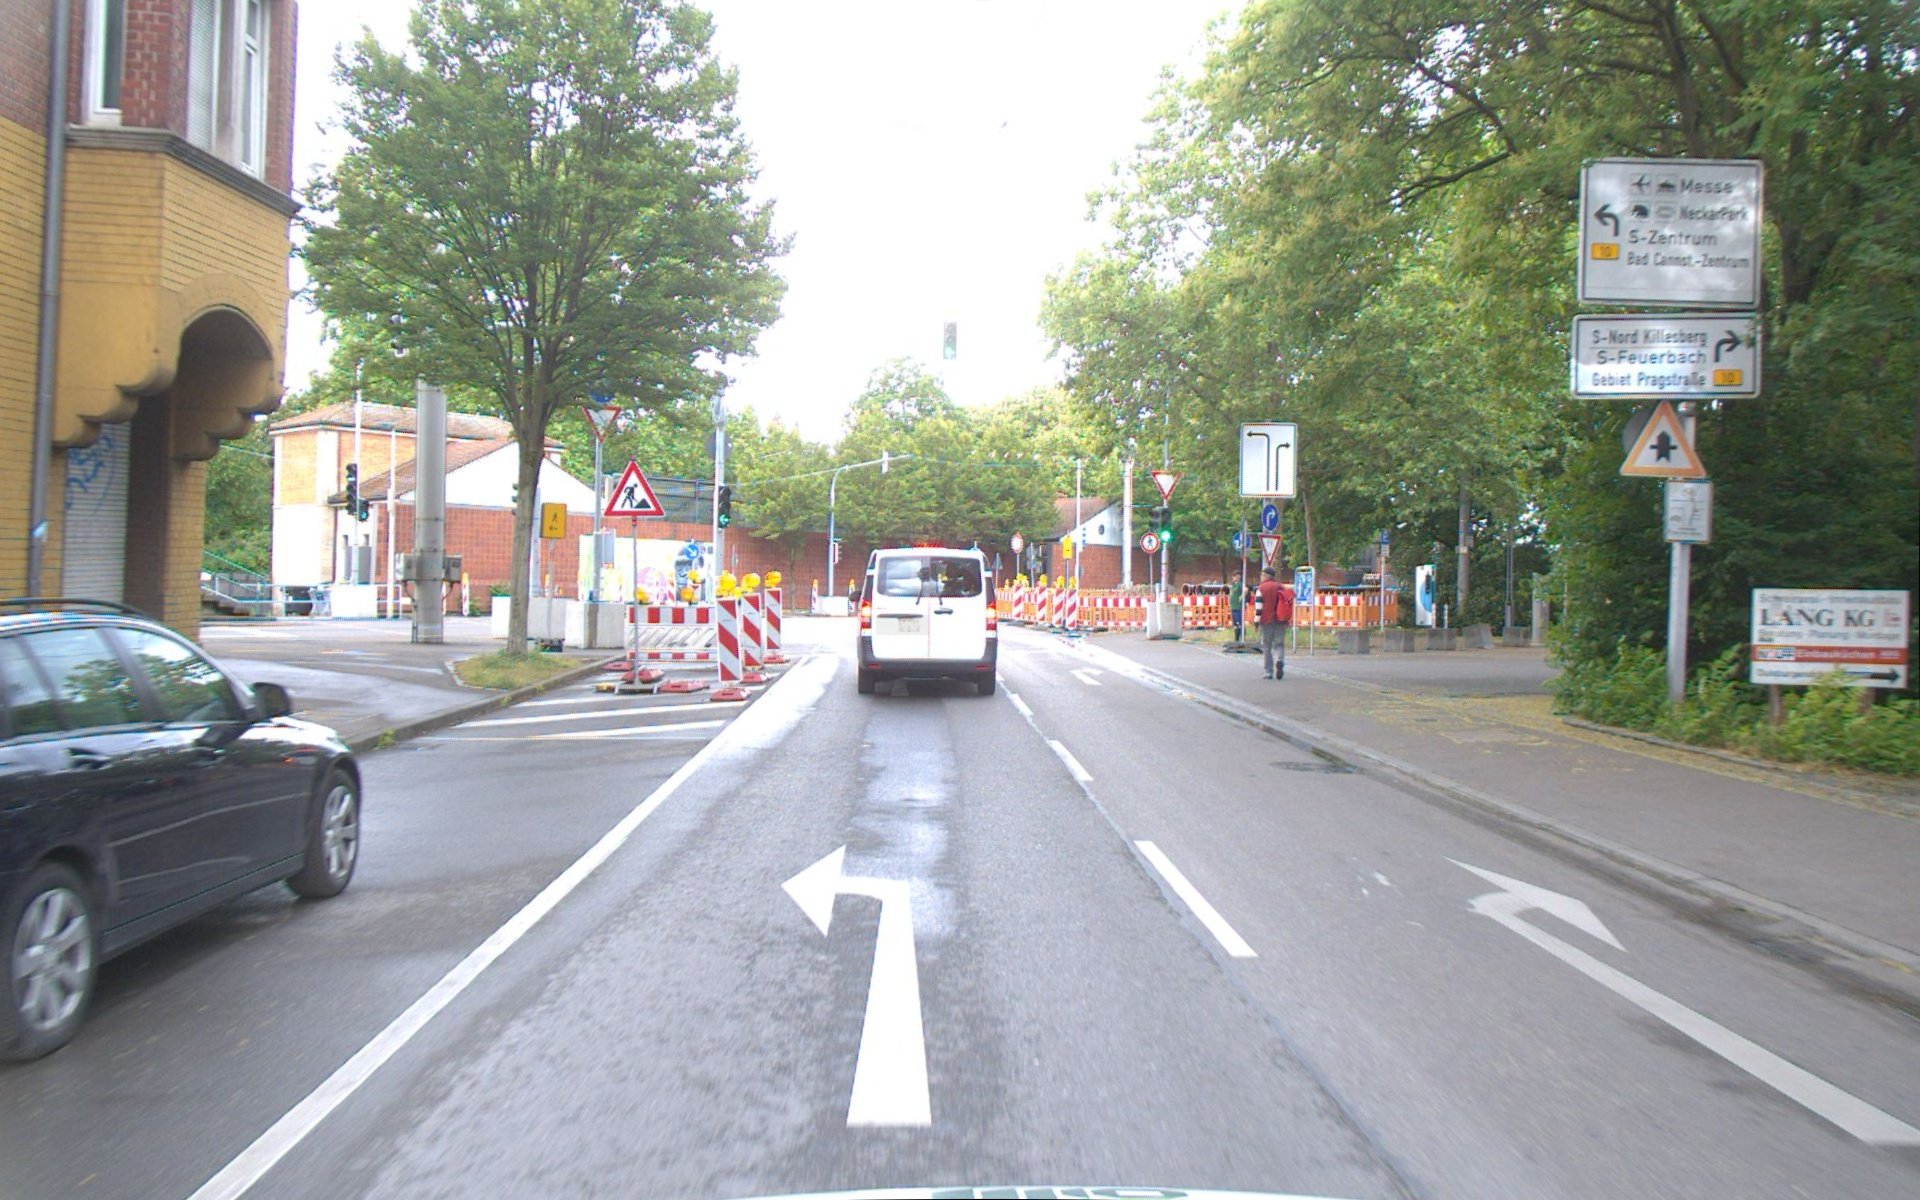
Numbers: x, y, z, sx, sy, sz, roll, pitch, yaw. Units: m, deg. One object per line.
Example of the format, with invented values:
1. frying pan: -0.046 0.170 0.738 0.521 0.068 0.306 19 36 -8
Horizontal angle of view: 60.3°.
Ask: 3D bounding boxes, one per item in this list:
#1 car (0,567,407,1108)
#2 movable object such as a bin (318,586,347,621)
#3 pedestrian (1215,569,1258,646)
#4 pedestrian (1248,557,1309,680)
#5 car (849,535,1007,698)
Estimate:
1. car: -3.730 0.694 6.430 1.690 1.511 4.390 2 2 -1
2. movable object such as a bin: -24.879 0.127 65.584 0.844 1.364 0.788 0 -1 -44
3. pedestrian: 6.241 0.156 37.380 0.717 1.727 0.836 0 1 -10
4. pedestrian: 4.965 0.281 25.801 0.763 1.863 0.727 -1 1 -2
5. car: -0.470 0.277 23.205 1.879 1.935 4.699 4 -2 -2
